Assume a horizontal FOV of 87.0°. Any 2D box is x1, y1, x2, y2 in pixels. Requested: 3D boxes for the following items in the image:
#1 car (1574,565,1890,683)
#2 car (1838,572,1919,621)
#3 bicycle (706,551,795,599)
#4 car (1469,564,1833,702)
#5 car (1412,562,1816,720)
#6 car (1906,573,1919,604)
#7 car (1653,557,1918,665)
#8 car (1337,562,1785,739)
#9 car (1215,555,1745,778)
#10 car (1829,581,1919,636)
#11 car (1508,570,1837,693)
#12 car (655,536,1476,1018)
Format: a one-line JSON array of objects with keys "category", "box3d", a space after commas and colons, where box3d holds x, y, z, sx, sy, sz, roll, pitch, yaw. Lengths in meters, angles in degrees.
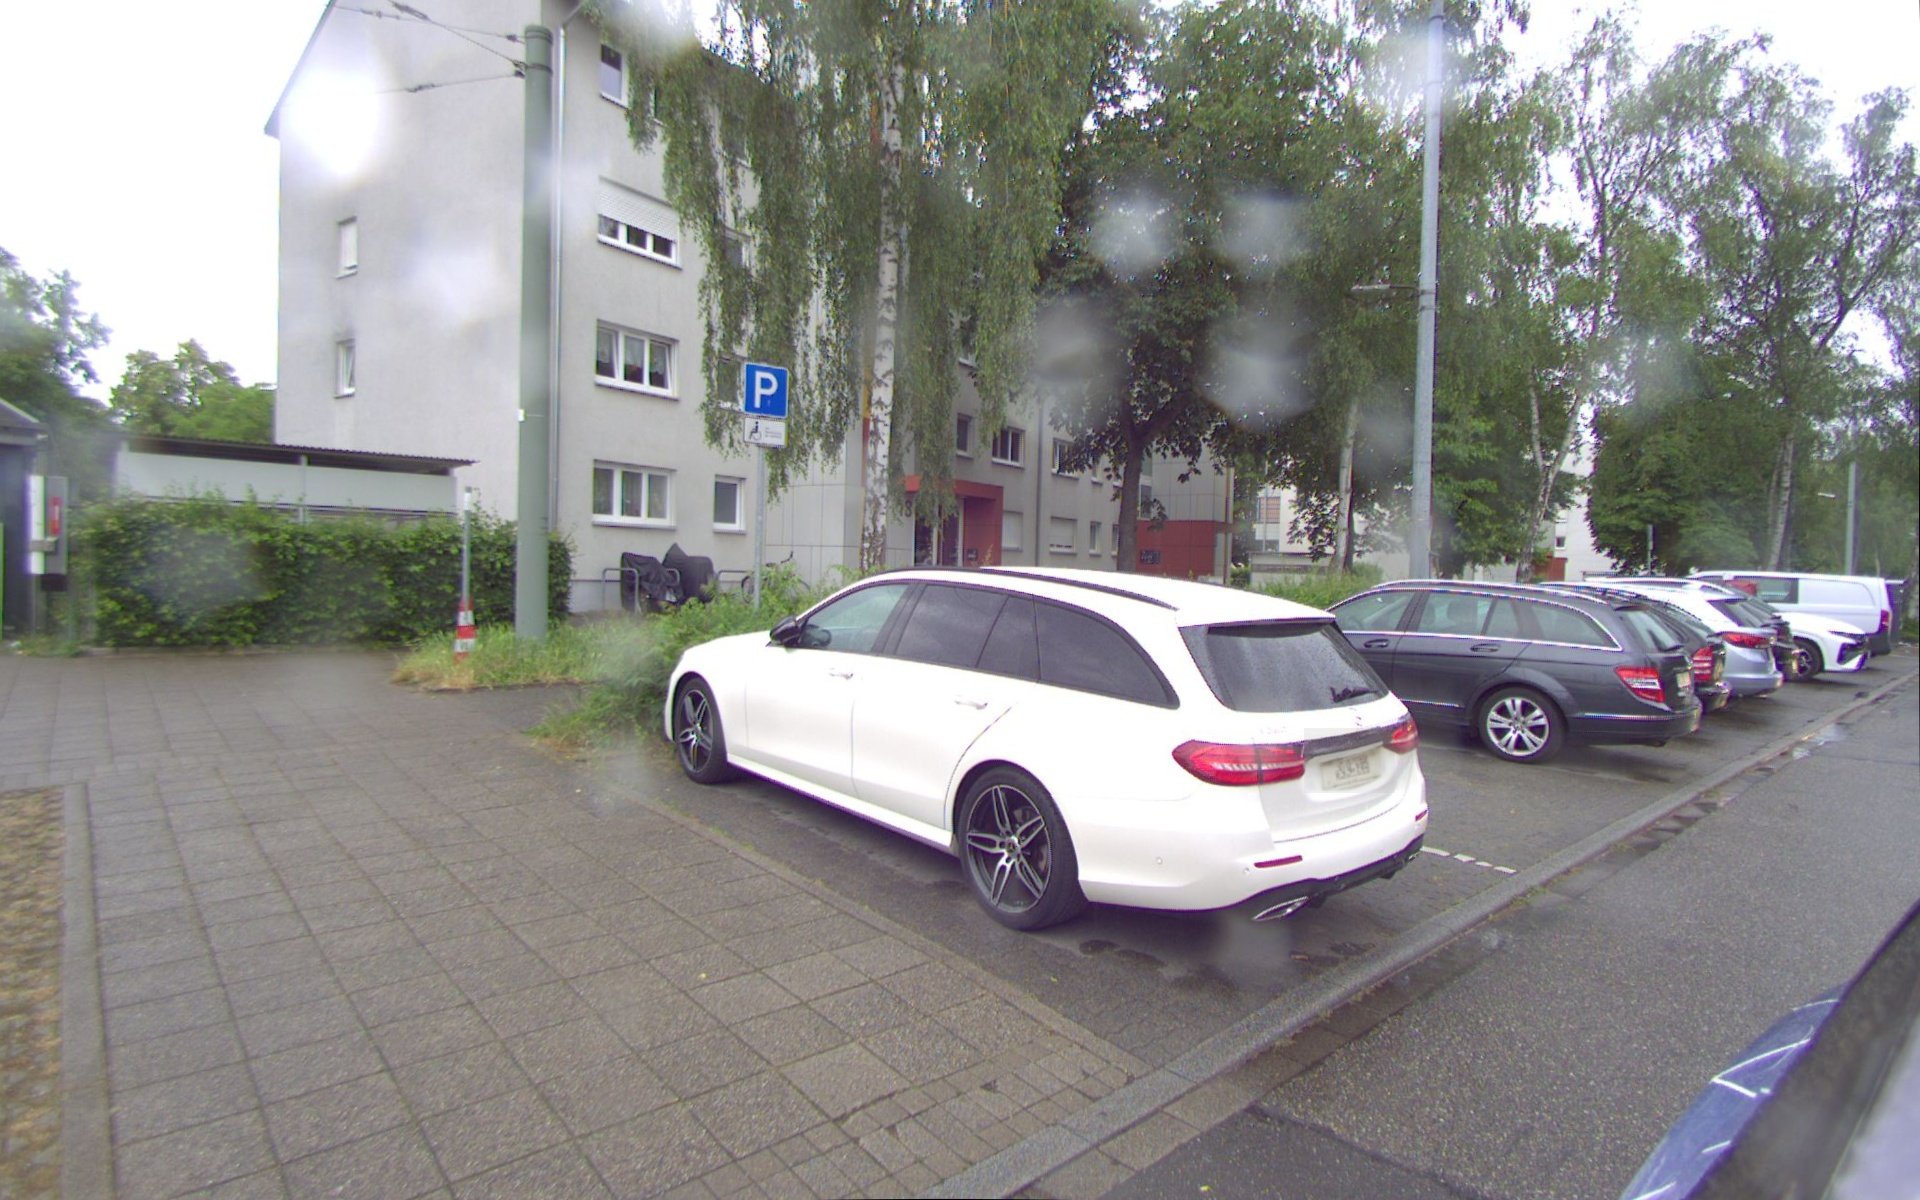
[{"category": "car", "box3d": [13.700, 0.320, 18.183, 1.651, 1.637, 4.181, 0, 5, -40]}, {"category": "car", "box3d": [37.763, -0.147, 40.233, 1.866, 1.937, 3.998, -1, 0, -36]}, {"category": "bicycle", "box3d": [-4.519, -0.532, 21.978, 0.701, 1.005, 1.918, 0, 0, 37]}, {"category": "car", "box3d": [9.868, 0.352, 14.689, 1.653, 1.514, 4.044, -1, 5, -43]}, {"category": "car", "box3d": [8.259, 0.380, 13.058, 1.653, 1.514, 4.044, -1, 5, -43]}, {"category": "car", "box3d": [53.228, -0.616, 53.805, 1.866, 1.701, 3.998, -1, 1, -36]}, {"category": "car", "box3d": [17.554, 0.137, 21.668, 4.172, 1.888, 1.654, 6, 5, 43]}, {"category": "car", "box3d": [6.649, 0.413, 11.546, 1.653, 1.456, 4.044, -1, 5, -43]}, {"category": "car", "box3d": [4.619, 0.414, 9.466, 1.653, 1.456, 4.044, -1, 5, -43]}, {"category": "car", "box3d": [34.430, 0.282, 36.814, 1.866, 1.937, 3.998, -1, 0, -36]}, {"category": "car", "box3d": [11.367, 0.398, 16.354, 1.653, 1.514, 4.044, -1, 5, -43]}, {"category": "car", "box3d": [0.086, 0.469, 5.618, 1.651, 1.456, 4.622, -1, 5, -41]}]
